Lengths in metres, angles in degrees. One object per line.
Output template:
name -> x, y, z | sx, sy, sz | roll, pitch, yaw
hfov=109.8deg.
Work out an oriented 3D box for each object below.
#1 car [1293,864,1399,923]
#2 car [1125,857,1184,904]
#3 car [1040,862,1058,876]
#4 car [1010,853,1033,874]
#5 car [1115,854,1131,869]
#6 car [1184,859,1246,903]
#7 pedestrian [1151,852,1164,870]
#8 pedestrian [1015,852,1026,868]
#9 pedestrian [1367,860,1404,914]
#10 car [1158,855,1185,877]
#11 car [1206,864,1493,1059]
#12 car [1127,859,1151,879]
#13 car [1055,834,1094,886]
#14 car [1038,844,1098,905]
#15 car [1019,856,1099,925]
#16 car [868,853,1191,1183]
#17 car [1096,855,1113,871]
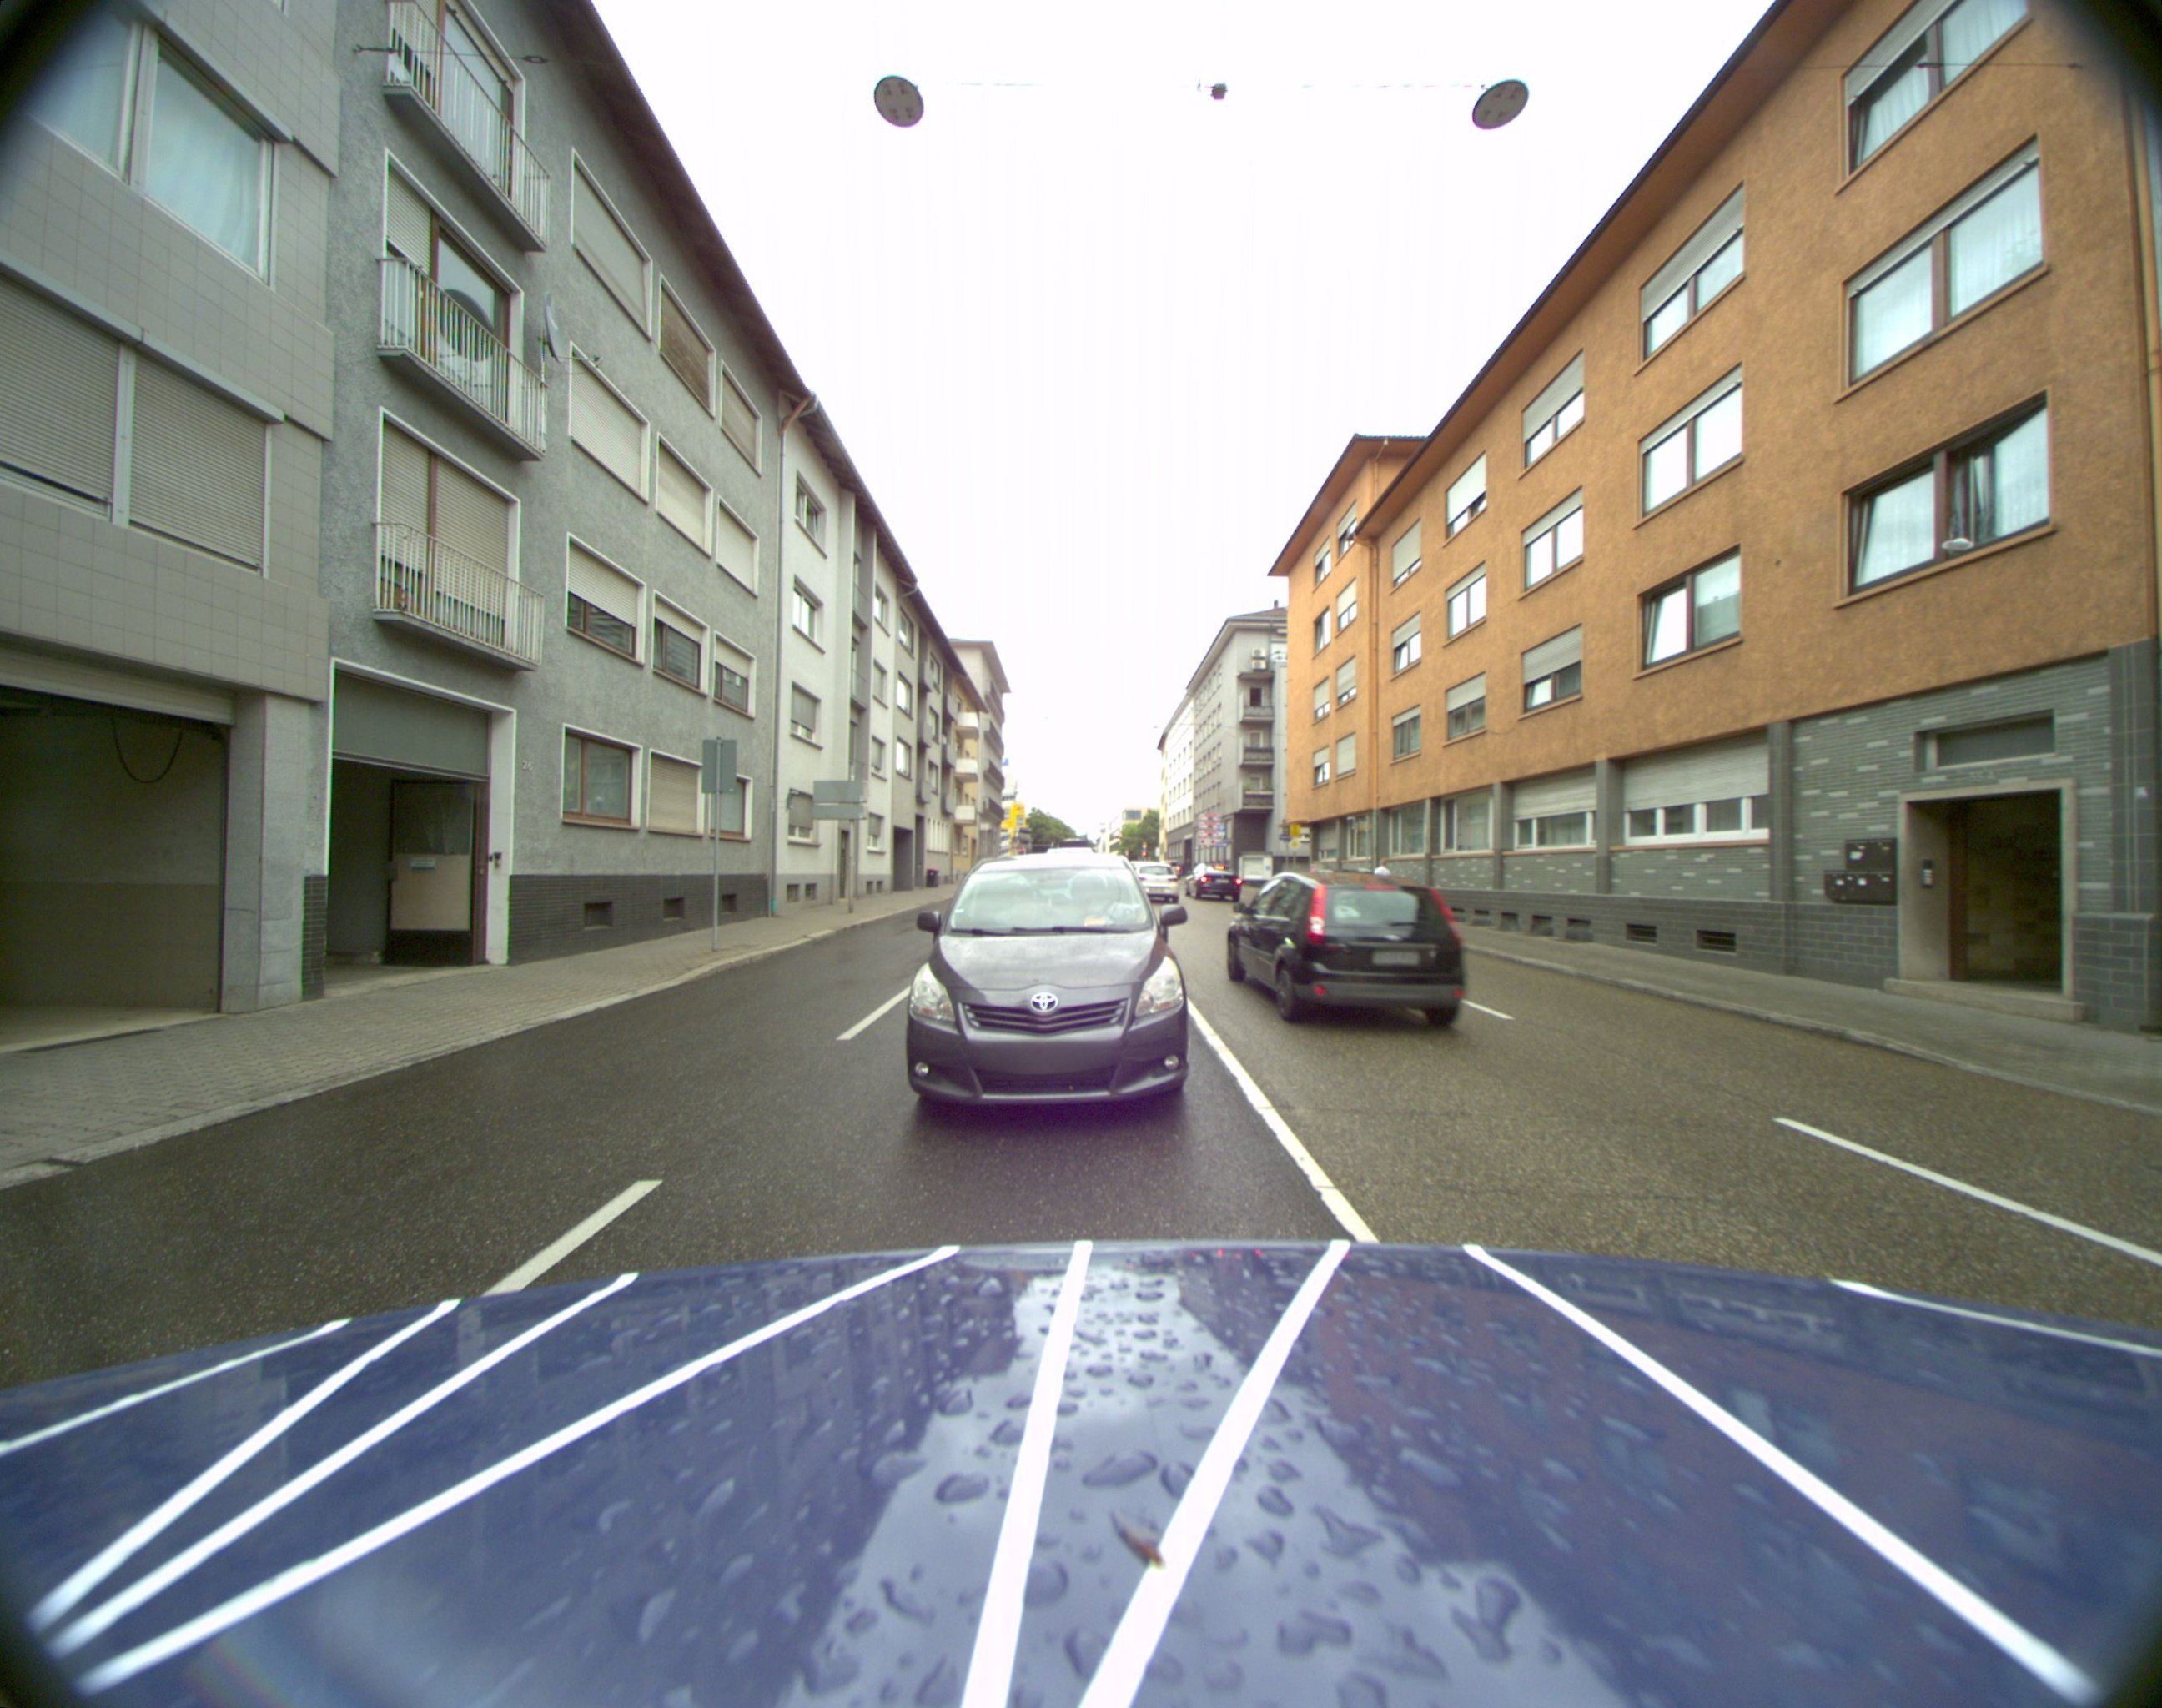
car -> 8.042, 1.142, 23.465 | 1.799, 1.466, 4.217 | -2, 1, 1
car -> 2.683, 0.936, 28.541 | 1.749, 1.530, 4.052 | 2, 1, -1
car -> -3.722, 1.731, 89.367 | 1.856, 1.369, 4.217 | -2, 1, 1
car -> -5.133, 0.785, 65.891 | 1.856, 1.663, 4.215 | -2, 1, -4
car -> 5.351, 0.912, 97.369 | 1.856, 1.712, 4.217 | -2, 1, 1
car -> 5.583, 1.077, 32.147 | 1.699, 1.530, 4.435 | 4, 1, 0
pedestrian -> 8.848, 0.812, 88.097 | 1.309, 2.002, 1.258 | -2, 1, 1
pedestrian -> -6.621, 0.689, 83.423 | 1.119, 1.741, 0.961 | 1, 1, -5
pedestrian -> 9.643, 1.028, 24.093 | 0.768, 1.630, 1.023 | -2, 1, 5
car -> 7.814, 0.988, 65.757 | 1.856, 1.712, 4.217 | -2, 1, 1
car -> 2.653, 0.957, 8.626 | 1.622, 1.530, 4.216 | 2, 1, -1
car -> 5.452, 1.361, 71.663 | 1.856, 1.651, 4.610 | -2, 1, 1
car -> -0.333, 0.293, 43.649 | 2.033, 2.731, 4.368 | -2, 1, 1
car -> -0.397, 0.633, 26.606 | 1.856, 1.882, 4.217 | -2, 1, 1
car -> -0.506, 0.889, 20.101 | 1.856, 1.524, 3.792 | -2, 1, 1
car -> -0.253, 0.898, 6.257 | 1.699, 1.712, 4.217 | -2, 1, 1
car -> 2.841, 1.060, 92.791 | 1.856, 1.712, 4.217 | -2, 1, 1
